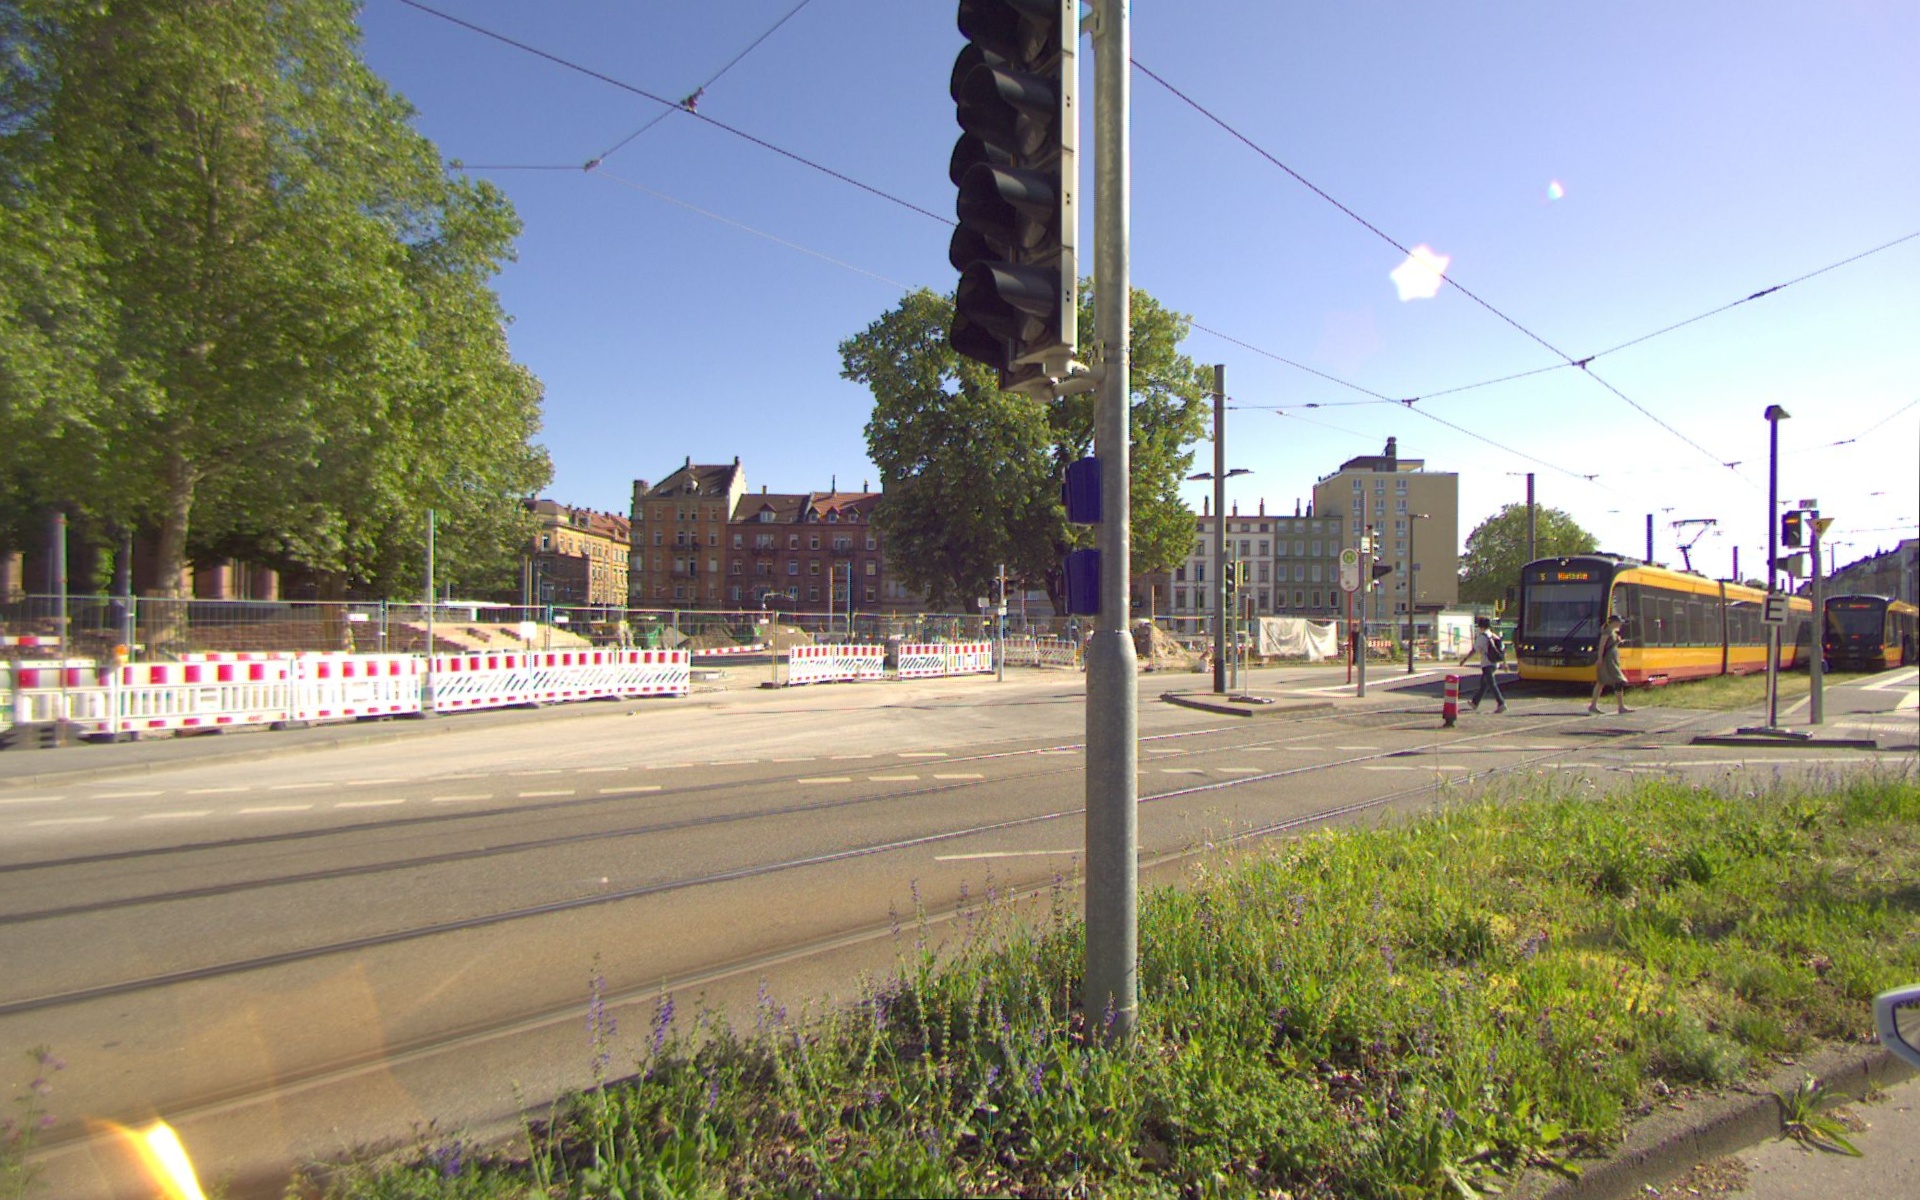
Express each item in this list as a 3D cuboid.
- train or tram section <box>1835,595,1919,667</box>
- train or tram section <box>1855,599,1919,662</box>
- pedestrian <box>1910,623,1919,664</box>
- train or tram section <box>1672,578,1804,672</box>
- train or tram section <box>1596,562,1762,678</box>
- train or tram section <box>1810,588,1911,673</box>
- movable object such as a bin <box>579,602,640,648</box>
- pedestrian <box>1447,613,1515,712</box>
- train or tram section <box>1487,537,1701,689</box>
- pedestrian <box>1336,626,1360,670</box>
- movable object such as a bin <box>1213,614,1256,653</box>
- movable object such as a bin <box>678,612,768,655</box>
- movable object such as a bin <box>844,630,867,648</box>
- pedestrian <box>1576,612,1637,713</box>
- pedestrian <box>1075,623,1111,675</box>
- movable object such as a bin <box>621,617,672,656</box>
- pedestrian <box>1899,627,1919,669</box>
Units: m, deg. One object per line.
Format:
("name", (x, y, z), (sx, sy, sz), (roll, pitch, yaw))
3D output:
("train or tram section", (49.800, 1.684, 54.369), (10.472, 3.554, 2.843), (2, -2, -44))
("train or tram section", (57.349, 1.877, 61.688), (10.472, 3.554, 2.843), (2, -1, -44))
("pedestrian", (44.953, 2.033, 46.948), (0.602, 1.881, 0.784), (3, -1, -45))
("train or tram section", (33.397, 1.090, 42.875), (11.132, 3.554, 2.790), (2, -1, -43))
("train or tram section", (25.593, 0.739, 35.466), (10.537, 3.554, 2.790), (2, -1, -43))
("train or tram section", (42.316, 1.429, 47.050), (10.472, 3.554, 2.843), (2, -2, -44))
("movable object such as a bin", (-26.357, 1.868, 75.778), (3.060, 3.214, 5.244), (2, -1, -5))
("pedestrian", (10.164, 1.201, 19.589), (0.756, 1.856, 1.006), (3, -3, -45))
("train or tram section", (18.049, 0.458, 28.154), (10.411, 3.554, 2.789), (2, -2, -45))
("pedestrian", (16.113, 1.968, 41.676), (0.795, 1.791, 0.661), (2, -2, -45))
("movable object such as a bin", (20.631, 2.507, 75.701), (1.798, 2.833, 3.997), (2, -1, -5))
("movable object such as a bin", (-16.991, 2.386, 72.194), (5.968, 2.795, 1.894), (2, -1, -3))
("movable object such as a bin", (-10.061, 3.770, 96.845), (1.716, 1.702, 3.802), (0, -1, 2))
("pedestrian", (12.407, 1.174, 19.267), (0.888, 1.875, 0.760), (-1, 1, 39))
("pedestrian", (4.689, 1.713, 35.513), (0.855, 1.791, 0.965), (1, -2, -32))
("movable object such as a bin", (-20.090, 2.313, 64.542), (1.857, 2.377, 4.230), (2, -1, 0))
("pedestrian", (44.155, 2.245, 46.608), (0.756, 1.908, 0.838), (3, -1, -45))
